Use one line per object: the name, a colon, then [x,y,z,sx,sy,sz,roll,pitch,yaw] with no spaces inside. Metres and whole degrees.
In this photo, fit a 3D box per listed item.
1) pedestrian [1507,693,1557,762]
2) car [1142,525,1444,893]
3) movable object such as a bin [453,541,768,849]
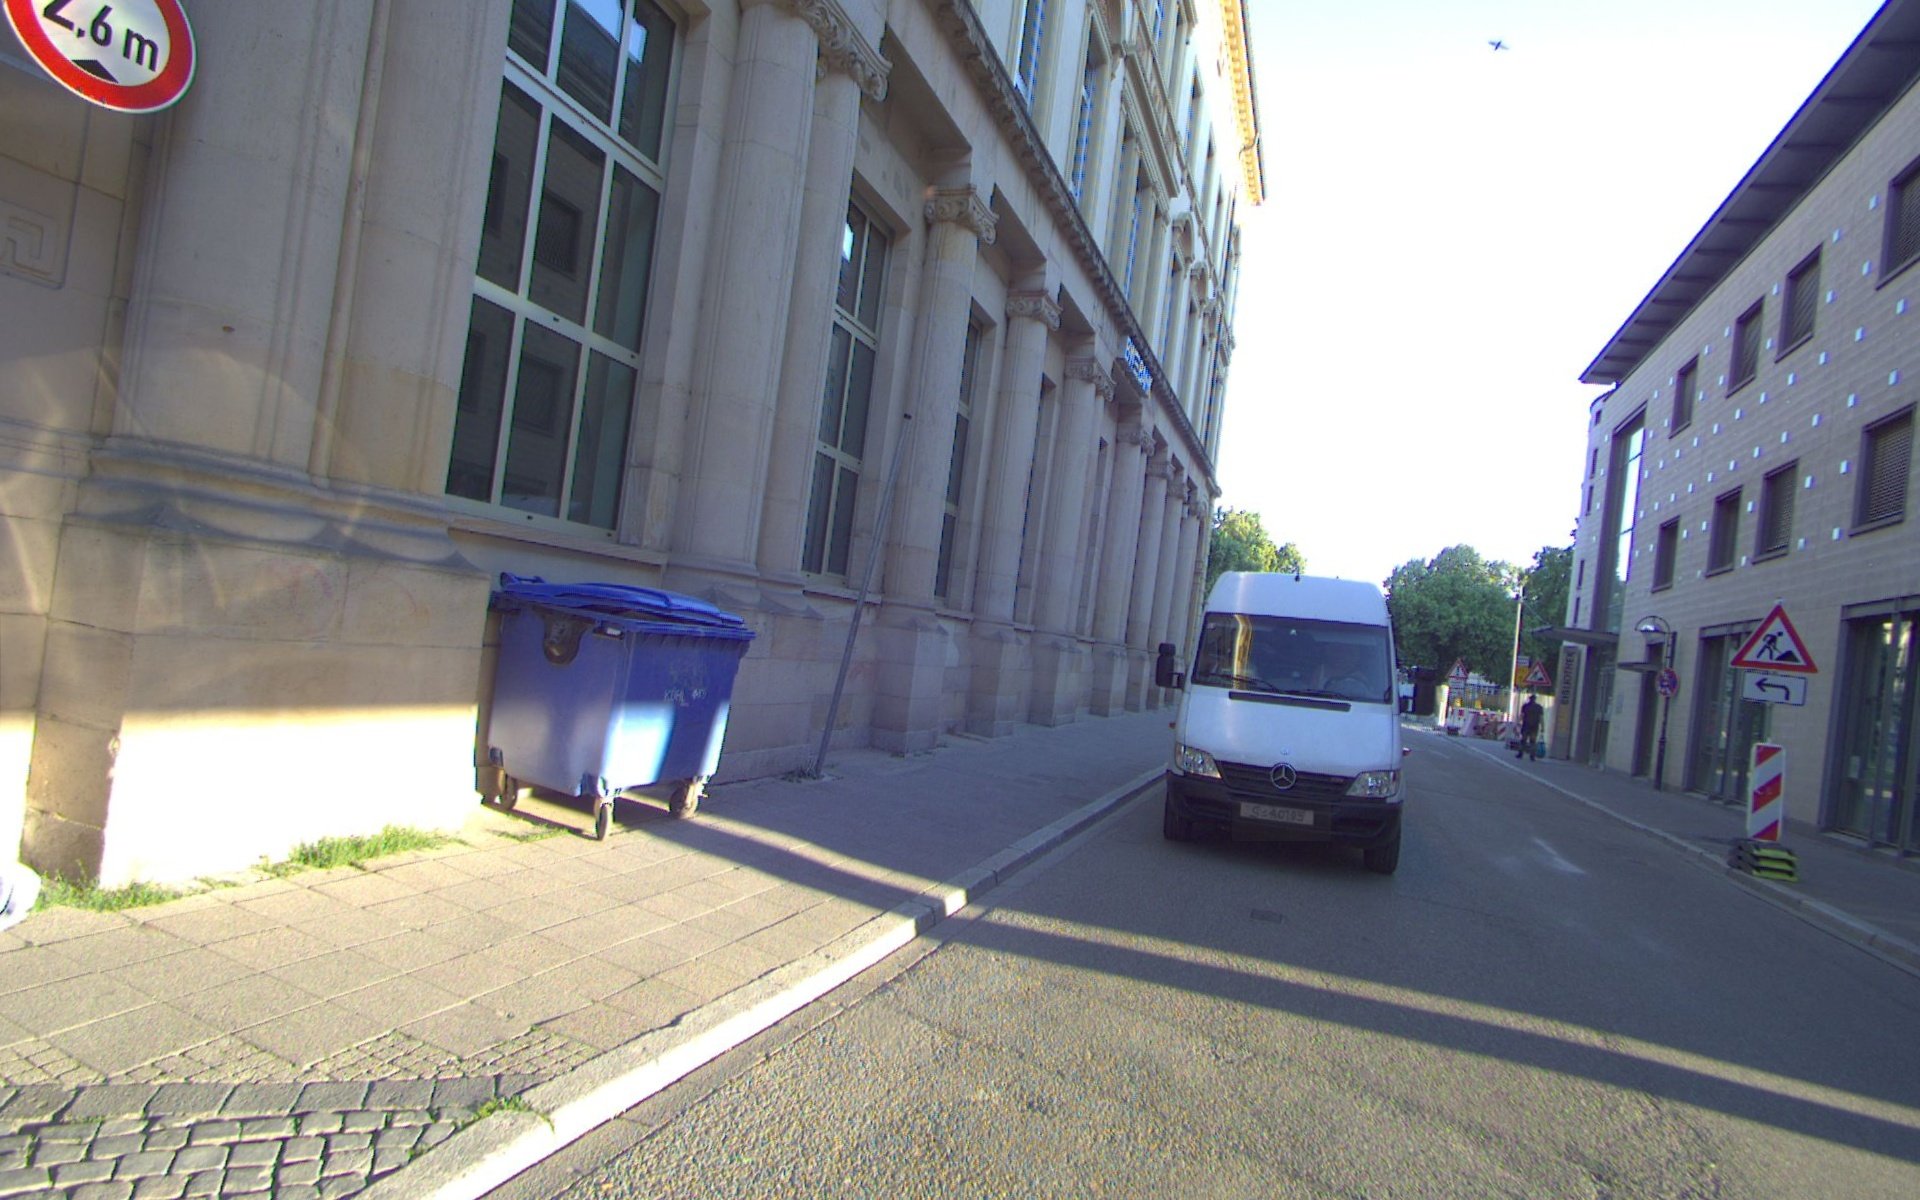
pedestrian: [15.600,3.453,27.468,0.909,1.722,0.869,6,-1,22]
car: [3.392,0.966,10.520,1.965,2.541,6.475,4,-3,18]
movable object such as a bin: [-2.024,0.531,5.974,1.058,1.492,1.187,9,-1,24]
